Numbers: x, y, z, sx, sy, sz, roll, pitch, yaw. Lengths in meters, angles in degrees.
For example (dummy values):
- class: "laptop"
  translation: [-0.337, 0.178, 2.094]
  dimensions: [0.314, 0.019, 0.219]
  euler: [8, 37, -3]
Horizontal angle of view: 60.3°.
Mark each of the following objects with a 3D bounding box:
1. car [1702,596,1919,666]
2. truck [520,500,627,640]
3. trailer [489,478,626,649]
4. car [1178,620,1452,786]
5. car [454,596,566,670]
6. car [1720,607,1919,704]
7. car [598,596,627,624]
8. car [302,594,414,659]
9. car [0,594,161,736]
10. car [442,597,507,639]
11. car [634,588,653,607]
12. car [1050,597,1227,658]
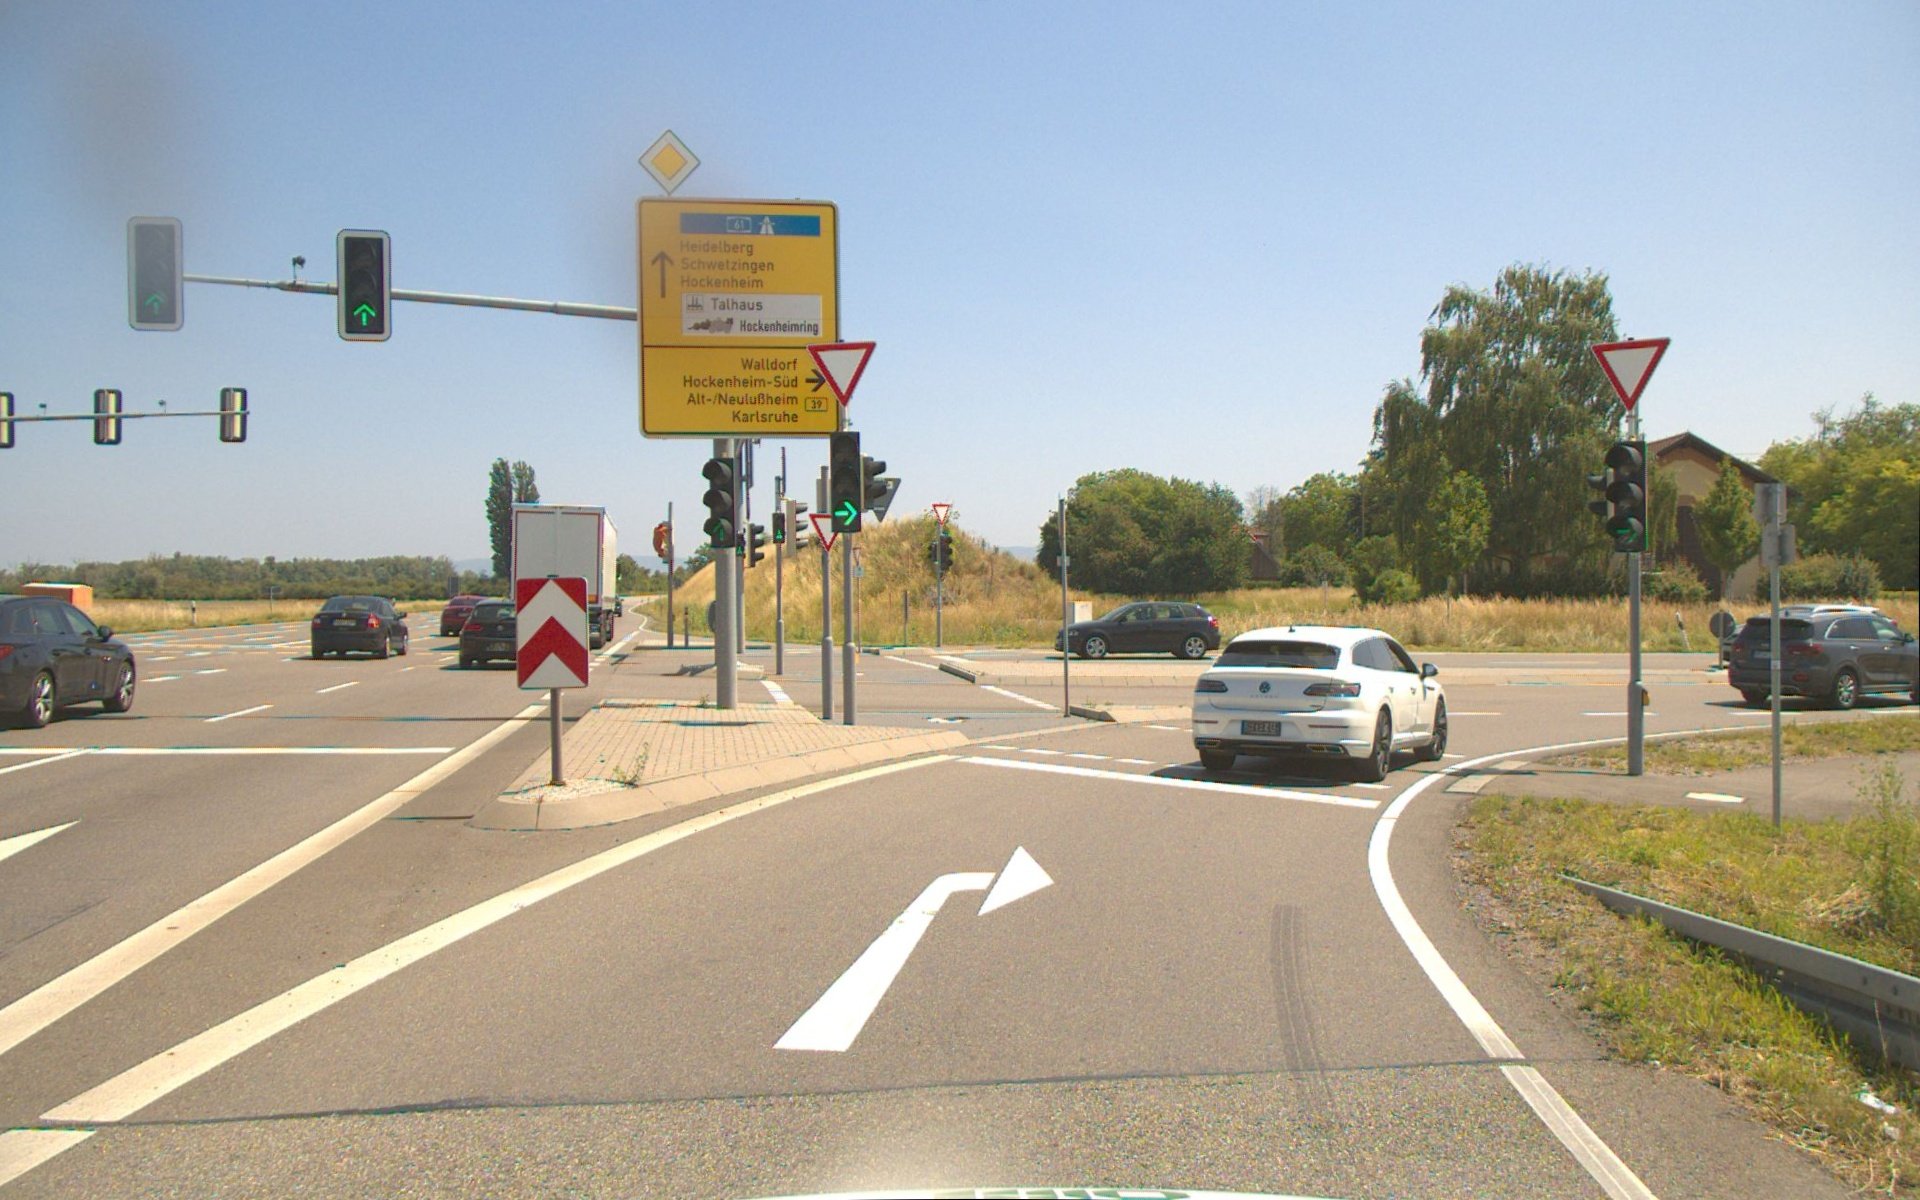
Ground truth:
- class: "car"
  translation: [20.682, 0.733, 40.280]
  dimensions: [4.450, 1.570, 1.869]
  euler: [-1, 1, -8]
- class: "truck"
  translation: [-13.597, -0.982, 58.697]
  dimensions: [3.320, 4.622, 6.356]
  euler: [1, 0, -11]
- class: "trailer"
  translation: [-12.336, -0.985, 51.848]
  dimensions: [3.320, 4.622, 12.839]
  euler: [1, 0, -10]
- class: "car"
  translation: [3.829, 0.950, 17.171]
  dimensions: [1.811, 1.458, 4.605]
  euler: [0, -1, 25]
- class: "car"
  translation: [-9.612, 0.671, 35.607]
  dimensions: [1.751, 1.456, 4.372]
  euler: [1, 0, -8]
- class: "car"
  translation: [15.998, 0.978, 30.242]
  dimensions: [4.326, 1.645, 1.918]
  euler: [1, -1, -34]
- class: "car"
  translation: [-25.100, 0.728, 119.555]
  dimensions: [1.945, 1.927, 4.454]
  euler: [1, -1, -12]
- class: "car"
  translation: [-14.282, 0.617, 39.456]
  dimensions: [1.644, 1.436, 4.457]
  euler: [1, -1, -9]
- class: "car"
  translation: [-11.081, 0.678, 19.206]
  dimensions: [1.853, 1.472, 4.518]
  euler: [1, -1, -7]
- class: "car"
  translation: [-17.930, 0.625, 61.226]
  dimensions: [1.717, 1.446, 4.555]
  euler: [1, 0, -10]
- class: "car"
  translation: [-32.889, -0.285, 171.835]
  dimensions: [1.945, 1.902, 4.454]
  euler: [1, -1, -12]
- class: "car"
  translation: [4.504, 0.696, 42.044]
  dimensions: [4.177, 1.392, 1.774]
  euler: [1, 1, -6]
